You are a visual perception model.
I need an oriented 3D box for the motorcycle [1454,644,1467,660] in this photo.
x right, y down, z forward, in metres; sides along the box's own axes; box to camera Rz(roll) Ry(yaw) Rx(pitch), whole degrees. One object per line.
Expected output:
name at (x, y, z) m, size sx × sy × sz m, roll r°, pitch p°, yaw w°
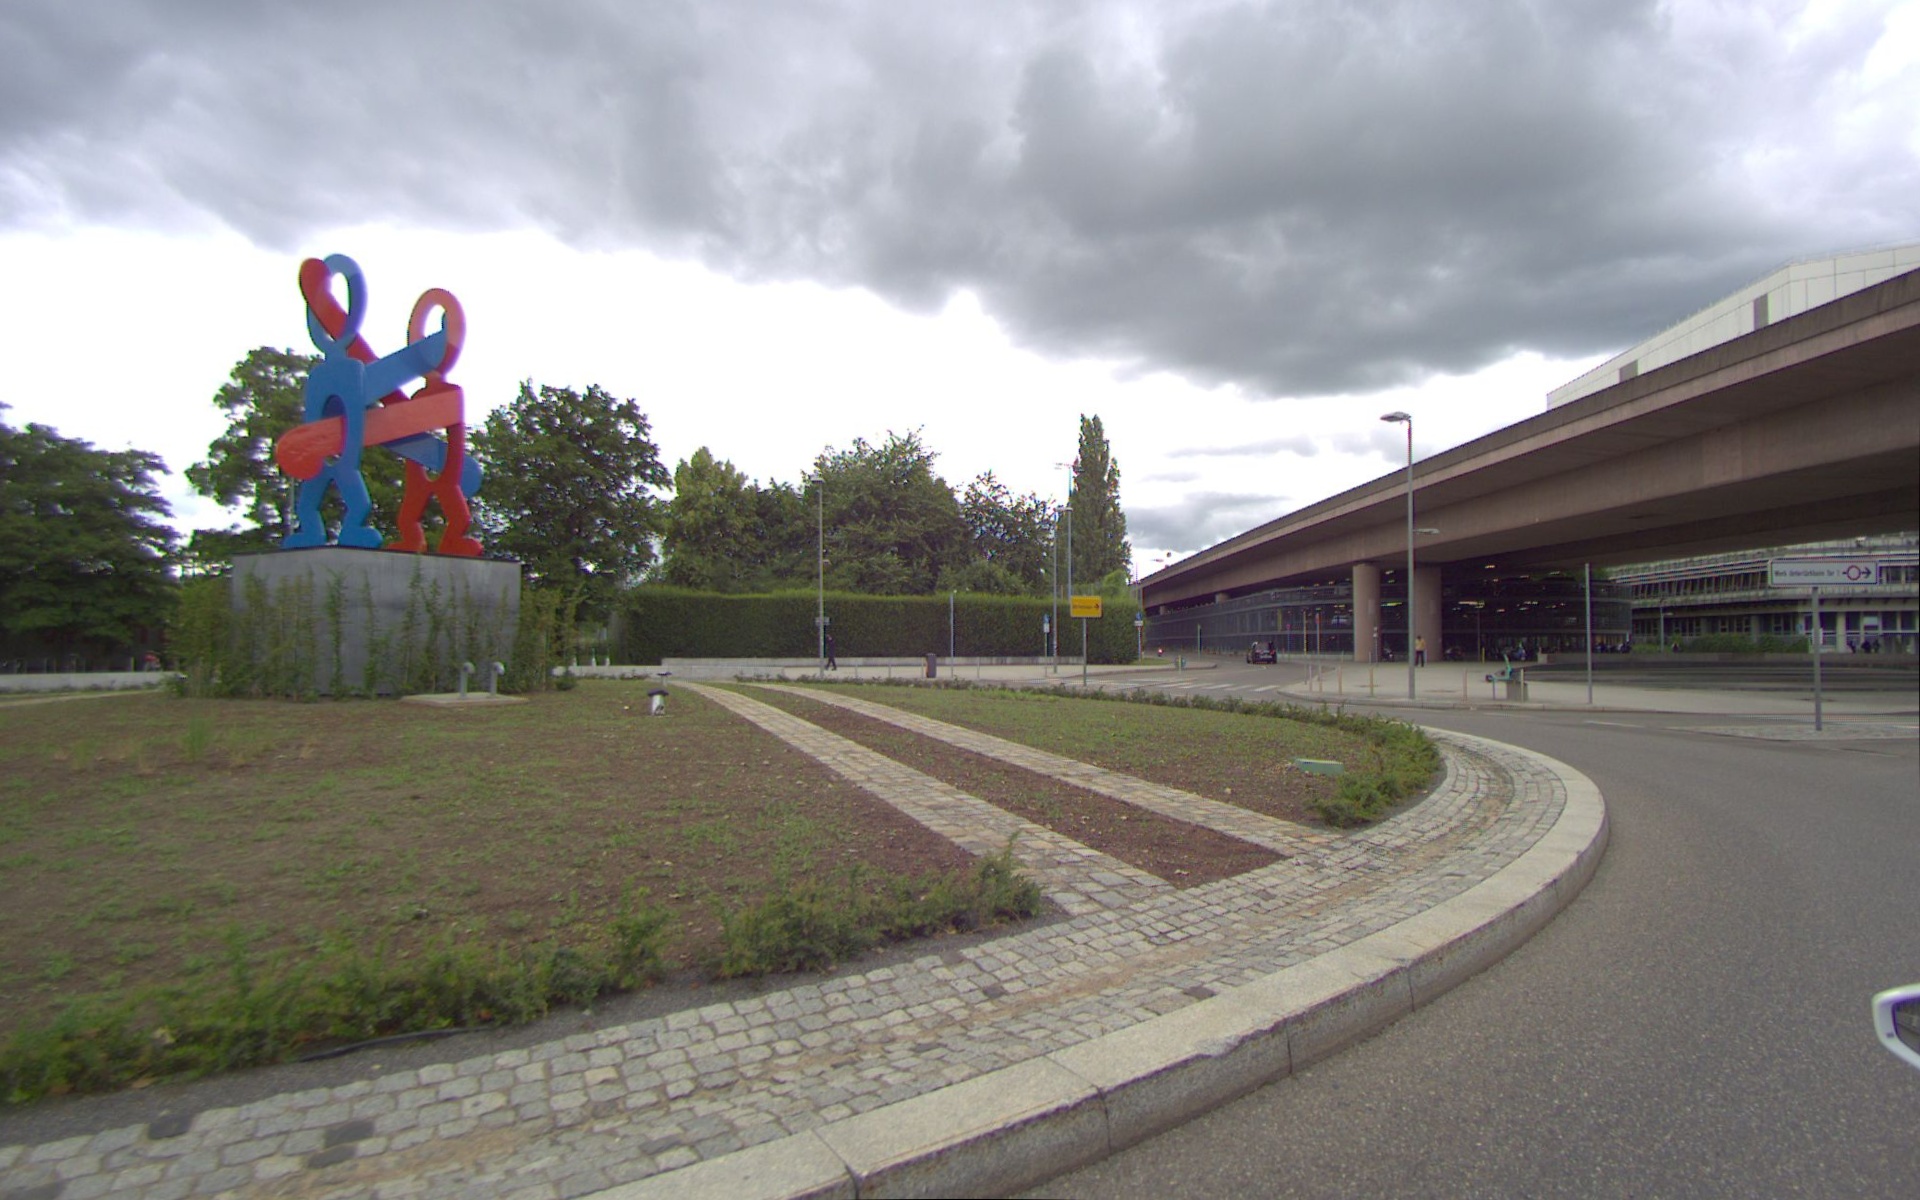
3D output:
motorcycle at (39.867, 4.127, 79.973) m, size 0.817 × 1.236 × 2.077 m, roll -1°, pitch -1°, yaw 25°

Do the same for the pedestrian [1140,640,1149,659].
pedestrian at (18.158, 4.873, 98.969) m, size 0.790 × 1.804 × 0.921 m, roll -1°, pitch -1°, yaw 10°

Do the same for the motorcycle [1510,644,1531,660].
motorcycle at (44.395, 4.113, 79.583) m, size 0.660 × 1.236 × 2.080 m, roll -1°, pitch -1°, yaw 4°

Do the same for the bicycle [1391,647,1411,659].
bicycle at (36.703, 4.397, 83.633) m, size 1.450 × 0.989 × 0.451 m, roll -1°, pitch -1°, yaw 29°

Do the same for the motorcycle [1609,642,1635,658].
motorcycle at (53.381, 4.004, 80.986) m, size 0.660 × 1.236 × 2.364 m, roll -1°, pitch -1°, yaw 4°

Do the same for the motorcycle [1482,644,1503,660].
motorcycle at (42.308, 4.144, 79.891) m, size 0.660 × 1.236 × 2.080 m, roll -1°, pitch -1°, yaw 4°

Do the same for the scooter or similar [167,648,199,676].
scooter or similar at (-33.458, 2.664, 43.276) m, size 0.631 × 1.124 × 1.964 m, roll 0°, pitch -1°, yaw -23°

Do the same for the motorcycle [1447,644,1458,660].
motorcycle at (37.840, 3.996, 77.166) m, size 0.514 × 1.186 × 1.145 m, roll -2°, pitch -4°, yaw 39°

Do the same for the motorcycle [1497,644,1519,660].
motorcycle at (43.472, 4.128, 79.685) m, size 0.660 × 1.236 × 2.080 m, roll -1°, pitch -1°, yaw 4°

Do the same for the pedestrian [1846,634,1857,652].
pedestrian at (76.815, 3.690, 86.561) m, size 0.538 × 1.501 × 0.493 m, roll 0°, pitch -1°, yaw -29°

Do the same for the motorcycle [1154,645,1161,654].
motorcycle at (23.260, 5.811, 118.350) m, size 0.733 × 1.036 × 1.958 m, roll -1°, pitch -1°, yaw 8°

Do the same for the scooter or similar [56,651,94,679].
scooter or similar at (-37.727, 2.751, 42.863) m, size 0.631 × 1.124 × 1.964 m, roll 0°, pitch -1°, yaw -23°

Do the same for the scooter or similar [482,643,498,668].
scooter or similar at (-22.493, 2.659, 48.043) m, size 0.631 × 1.124 × 1.964 m, roll 0°, pitch -1°, yaw -23°

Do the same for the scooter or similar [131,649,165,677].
scooter or similar at (-34.742, 2.669, 42.993) m, size 0.631 × 1.124 × 1.964 m, roll 0°, pitch -1°, yaw -23°

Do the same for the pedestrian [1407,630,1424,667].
pedestrian at (25.495, 2.725, 56.197) m, size 0.770 × 2.040 × 1.038 m, roll -1°, pitch -1°, yaw 27°

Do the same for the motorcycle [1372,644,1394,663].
motorcycle at (33.189, 4.186, 78.869) m, size 0.633 × 1.474 × 1.758 m, roll -1°, pitch -1°, yaw -13°

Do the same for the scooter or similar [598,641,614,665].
scooter or similar at (-17.717, 2.636, 50.238) m, size 0.631 × 1.124 × 1.964 m, roll 0°, pitch -1°, yaw -23°

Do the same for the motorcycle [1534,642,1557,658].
motorcycle at (46.463, 3.981, 79.703) m, size 0.660 × 1.236 × 2.080 m, roll -1°, pitch -1°, yaw 4°

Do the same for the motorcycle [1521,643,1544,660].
motorcycle at (45.353, 4.064, 79.594) m, size 0.660 × 1.303 × 2.080 m, roll -1°, pitch -1°, yaw 4°

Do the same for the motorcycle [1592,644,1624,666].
motorcycle at (40.385, 3.429, 62.597) m, size 1.910 × 1.281 × 0.546 m, roll 0°, pitch -1°, yaw -19°

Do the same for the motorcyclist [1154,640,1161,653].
motorcyclist at (23.253, 5.449, 118.269) m, size 0.748 × 1.438 × 0.870 m, roll -1°, pitch -1°, yaw 8°

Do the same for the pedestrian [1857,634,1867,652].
pedestrian at (77.226, 3.671, 86.018) m, size 0.538 × 1.501 × 0.493 m, roll 0°, pitch -1°, yaw -29°

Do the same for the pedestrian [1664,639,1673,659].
pedestrian at (75.330, 5.221, 106.808) m, size 0.518 × 2.040 × 0.574 m, roll 0°, pitch -2°, yaw 10°

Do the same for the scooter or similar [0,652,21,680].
scooter or similar at (-39.863, 2.752, 41.715) m, size 0.631 × 1.124 × 1.964 m, roll 0°, pitch -1°, yaw -23°

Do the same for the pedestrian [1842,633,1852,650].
pedestrian at (77.877, 3.671, 88.189) m, size 0.538 × 1.501 × 0.493 m, roll 0°, pitch -1°, yaw -29°

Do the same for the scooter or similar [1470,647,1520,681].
scooter or similar at (20.710, 2.480, 38.901) m, size 1.616 × 1.313 × 0.518 m, roll -1°, pitch -1°, yaw 18°

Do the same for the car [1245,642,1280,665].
car at (23.779, 4.193, 79.061) m, size 1.808 × 1.734 × 3.707 m, roll -1°, pitch -1°, yaw 3°

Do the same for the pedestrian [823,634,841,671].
pedestrian at (-6.532, 2.665, 51.341) m, size 0.850 × 1.831 × 0.792 m, roll -1°, pitch -1°, yaw -9°

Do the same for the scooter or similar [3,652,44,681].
scooter or similar at (-39.177, 2.757, 42.040) m, size 0.631 × 1.124 × 1.964 m, roll 0°, pitch -1°, yaw -23°
